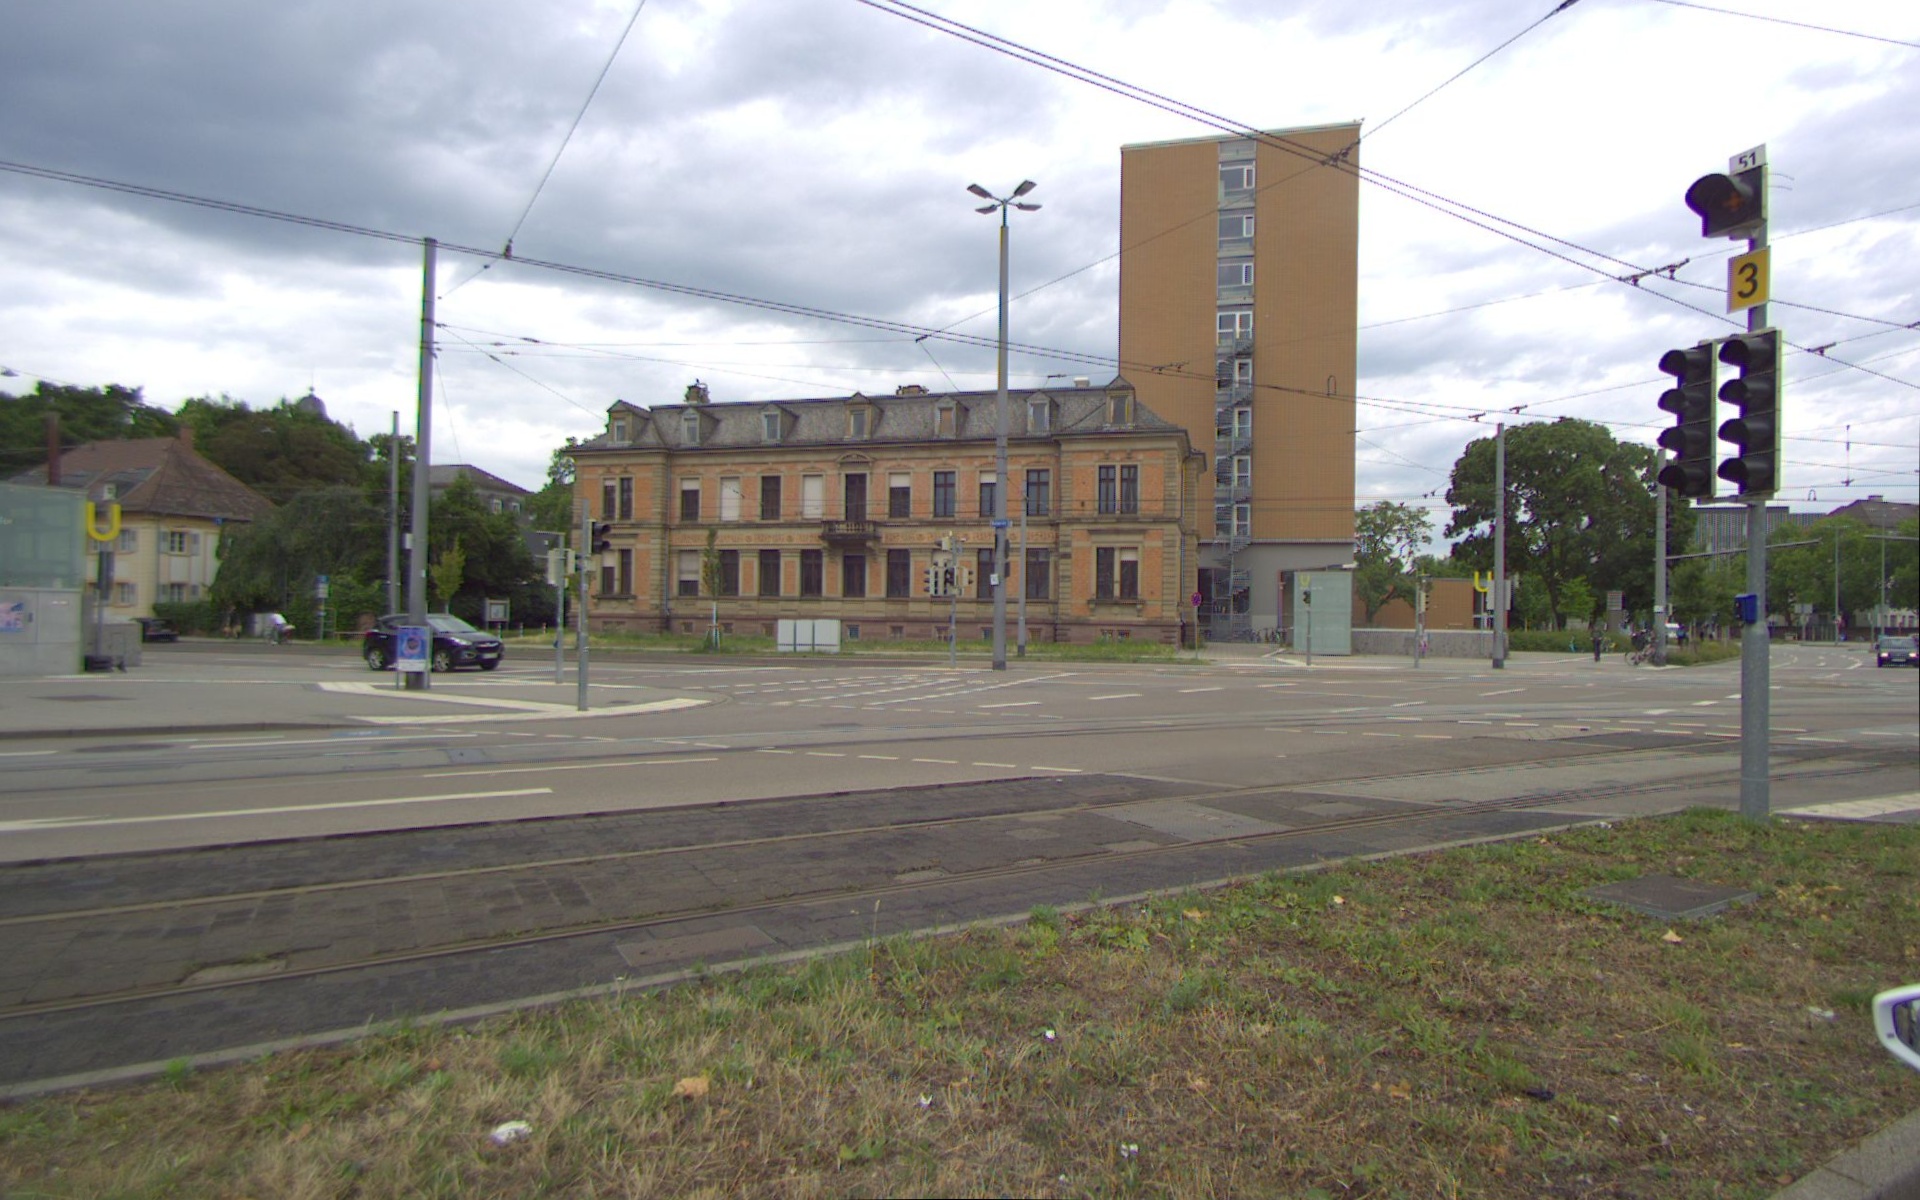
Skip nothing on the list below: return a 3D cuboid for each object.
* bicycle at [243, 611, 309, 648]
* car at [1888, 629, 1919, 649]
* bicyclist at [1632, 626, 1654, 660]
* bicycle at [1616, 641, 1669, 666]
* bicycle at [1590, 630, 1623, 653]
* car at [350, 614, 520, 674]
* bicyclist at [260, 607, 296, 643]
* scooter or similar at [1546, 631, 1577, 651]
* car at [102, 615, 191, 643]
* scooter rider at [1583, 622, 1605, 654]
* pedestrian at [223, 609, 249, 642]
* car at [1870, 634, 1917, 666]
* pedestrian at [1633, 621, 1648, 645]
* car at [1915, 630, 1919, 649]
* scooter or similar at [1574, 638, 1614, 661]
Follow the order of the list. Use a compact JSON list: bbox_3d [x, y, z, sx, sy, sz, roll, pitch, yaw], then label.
[{"bbox_3d":[-34.632,1.486,50.856,3.024,1.773,1.086,0,-1,18],"label":"bicycle"},{"bbox_3d":[86.707,3.567,91.851,1.965,1.795,3.991,0,-1,32],"label":"car"},{"bbox_3d":[34.446,2.146,50.661,0.803,1.678,0.790,-3,-2,40],"label":"bicyclist"},{"bbox_3d":[34.411,2.707,50.681,2.088,1.042,0.791,4,3,41],"label":"bicycle"},{"bbox_3d":[43.708,2.799,67.889,2.223,1.468,0.844,1,-1,-25],"label":"bicycle"},{"bbox_3d":[-15.508,1.276,29.762,4.159,1.632,2.001,1,-1,14],"label":"car"},{"bbox_3d":[-34.504,1.259,50.844,0.996,1.806,1.093,0,-1,17],"label":"bicyclist"},{"bbox_3d":[40.623,2.747,67.867,1.744,1.319,0.629,0,-1,29],"label":"scooter or similar"},{"bbox_3d":[-44.856,1.599,55.413,3.920,1.450,2.001,0,-1,18],"label":"car"},{"bbox_3d":[33.455,1.985,52.987,0.807,1.649,0.568,1,-1,-9],"label":"scooter rider"},{"bbox_3d":[-41.001,1.432,56.879,0.832,1.857,0.810,1,-1,13],"label":"pedestrian"},{"bbox_3d":[47.542,2.531,51.206,1.600,1.535,3.646,-1,-2,41],"label":"car"},{"bbox_3d":[49.503,2.406,73.088,0.681,1.757,0.739,1,-1,-44],"label":"pedestrian"},{"bbox_3d":[92.472,3.796,95.147,1.965,1.773,3.992,0,-1,30],"label":"car"},{"bbox_3d":[33.429,2.628,52.973,1.872,1.180,0.573,1,-1,-9],"label":"scooter or similar"}]
